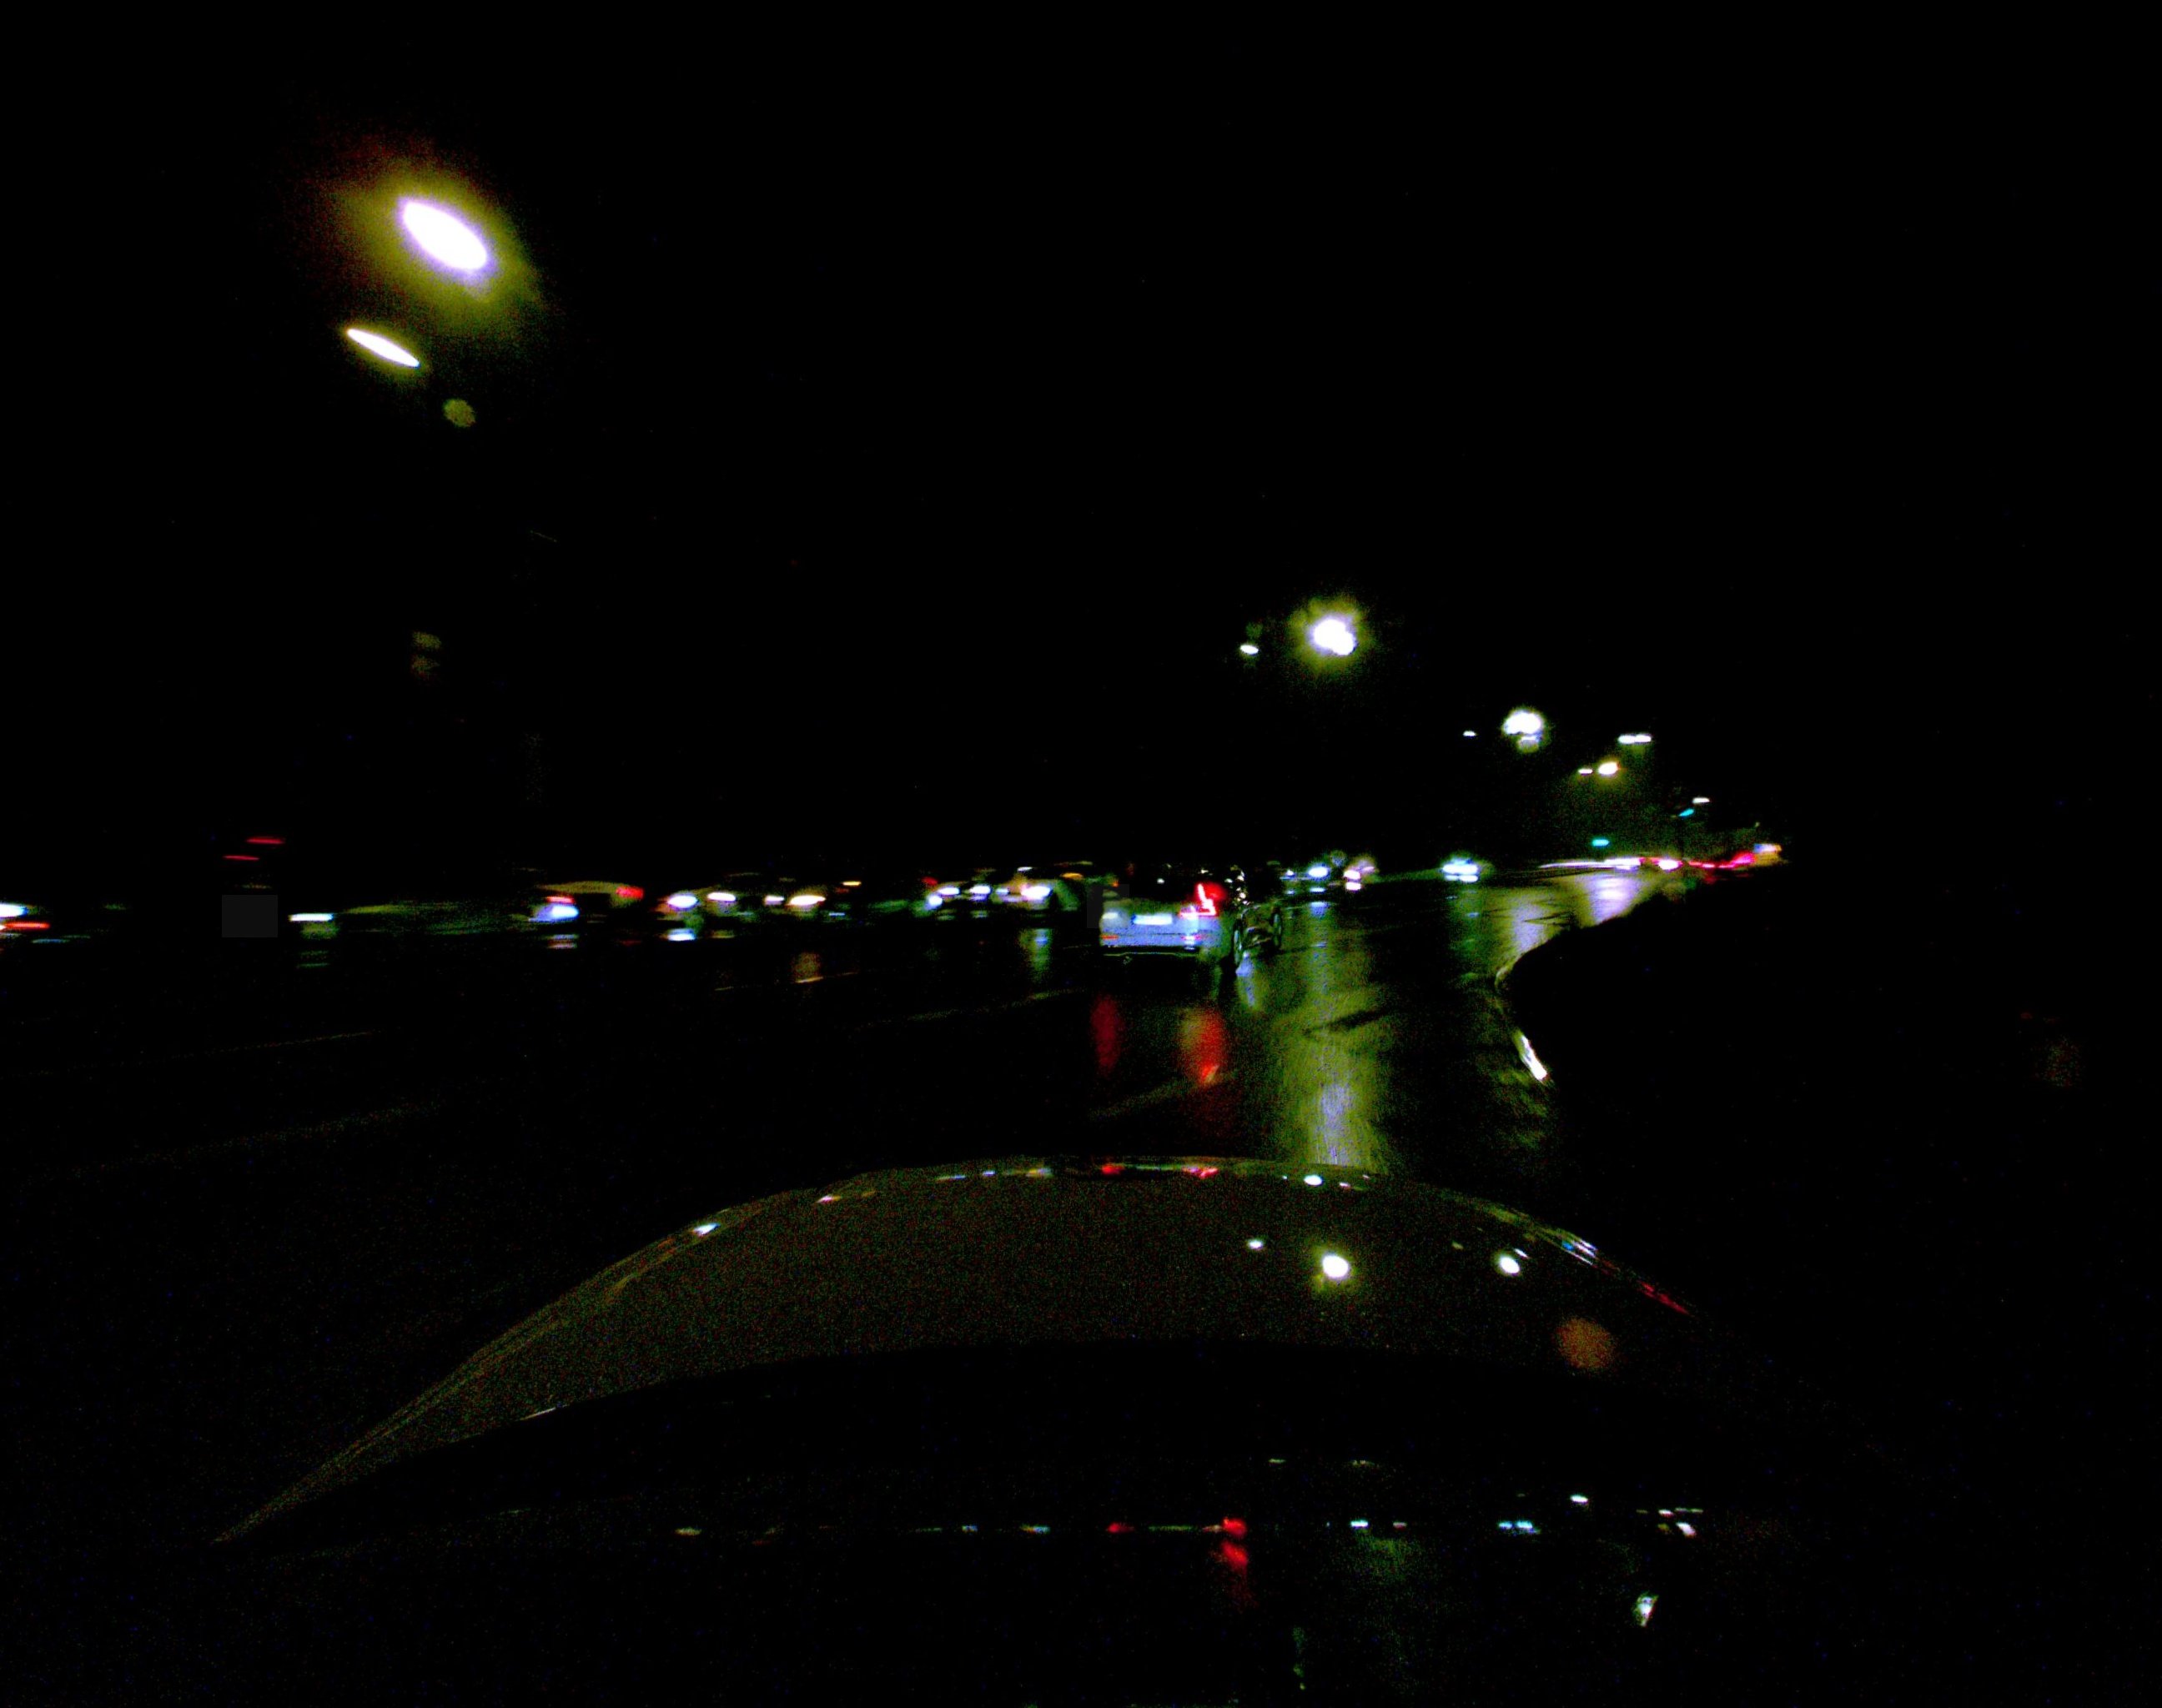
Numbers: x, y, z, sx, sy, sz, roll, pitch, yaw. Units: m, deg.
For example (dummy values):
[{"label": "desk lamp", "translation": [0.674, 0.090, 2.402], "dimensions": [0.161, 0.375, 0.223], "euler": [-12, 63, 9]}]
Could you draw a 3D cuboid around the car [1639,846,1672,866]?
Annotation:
[{"label": "car", "translation": [53.268, 0.215, 75.487], "dimensions": [2.157, 1.601, 4.024], "euler": [4, 0, 40]}]

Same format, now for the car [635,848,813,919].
[{"label": "car", "translation": [-10.188, 0.818, 23.500], "dimensions": [1.743, 1.848, 4.310], "euler": [0, -1, 42]}]

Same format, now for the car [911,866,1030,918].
[{"label": "car", "translation": [-4.048, 1.394, 30.456], "dimensions": [1.781, 1.799, 4.276], "euler": [-2, -3, 42]}]

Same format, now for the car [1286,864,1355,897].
[{"label": "car", "translation": [13.151, 1.433, 44.559], "dimensions": [1.781, 1.666, 4.514], "euler": [0, -1, 43]}]

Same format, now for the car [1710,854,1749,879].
[{"label": "car", "translation": [47.158, 0.910, 59.208], "dimensions": [1.892, 1.601, 4.023], "euler": [4, 0, 43]}]

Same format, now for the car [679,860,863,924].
[{"label": "car", "translation": [-7.856, 0.948, 20.882], "dimensions": [4.080, 1.487, 1.697], "euler": [2, -3, -44]}]

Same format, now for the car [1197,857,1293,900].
[{"label": "car", "translation": [6.614, 0.938, 32.500], "dimensions": [1.795, 1.578, 4.332], "euler": [-3, -2, 41]}]

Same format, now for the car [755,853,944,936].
[{"label": "car", "translation": [-5.356, 0.862, 19.173], "dimensions": [1.743, 1.725, 3.925], "euler": [-1, -1, 44]}]

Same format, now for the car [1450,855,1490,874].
[{"label": "car", "translation": [33.037, 0.883, 69.110], "dimensions": [1.865, 1.531, 4.458], "euler": [1, -1, 42]}]

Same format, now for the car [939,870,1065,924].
[{"label": "car", "translation": [-2.556, 1.398, 27.066], "dimensions": [1.781, 1.666, 4.000], "euler": [-2, -3, 42]}]

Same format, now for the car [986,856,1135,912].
[{"label": "car", "translation": [-0.508, 0.836, 23.940], "dimensions": [1.760, 1.484, 4.439], "euler": [-3, -2, 43]}]

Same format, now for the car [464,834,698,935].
[{"label": "car", "translation": [-14.680, 0.896, 24.237], "dimensions": [5.629, 2.710, 2.233], "euler": [2, -1, -33]}]

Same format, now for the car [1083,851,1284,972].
[{"label": "car", "translation": [1.724, 0.718, 12.111], "dimensions": [1.780, 1.452, 4.292], "euler": [0, -1, 24]}]

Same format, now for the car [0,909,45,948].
[{"label": "car", "translation": [-54.261, 3.736, 41.203], "dimensions": [4.423, 1.653, 1.844], "euler": [0, -2, 43]}]

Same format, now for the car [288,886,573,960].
[{"label": "car", "translation": [-14.604, 1.466, 18.540], "dimensions": [1.743, 1.427, 4.831], "euler": [-2, -3, 43]}]

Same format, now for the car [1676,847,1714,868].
[{"label": "car", "translation": [54.401, 0.325, 72.148], "dimensions": [2.158, 1.601, 4.023], "euler": [4, 0, 43]}]
